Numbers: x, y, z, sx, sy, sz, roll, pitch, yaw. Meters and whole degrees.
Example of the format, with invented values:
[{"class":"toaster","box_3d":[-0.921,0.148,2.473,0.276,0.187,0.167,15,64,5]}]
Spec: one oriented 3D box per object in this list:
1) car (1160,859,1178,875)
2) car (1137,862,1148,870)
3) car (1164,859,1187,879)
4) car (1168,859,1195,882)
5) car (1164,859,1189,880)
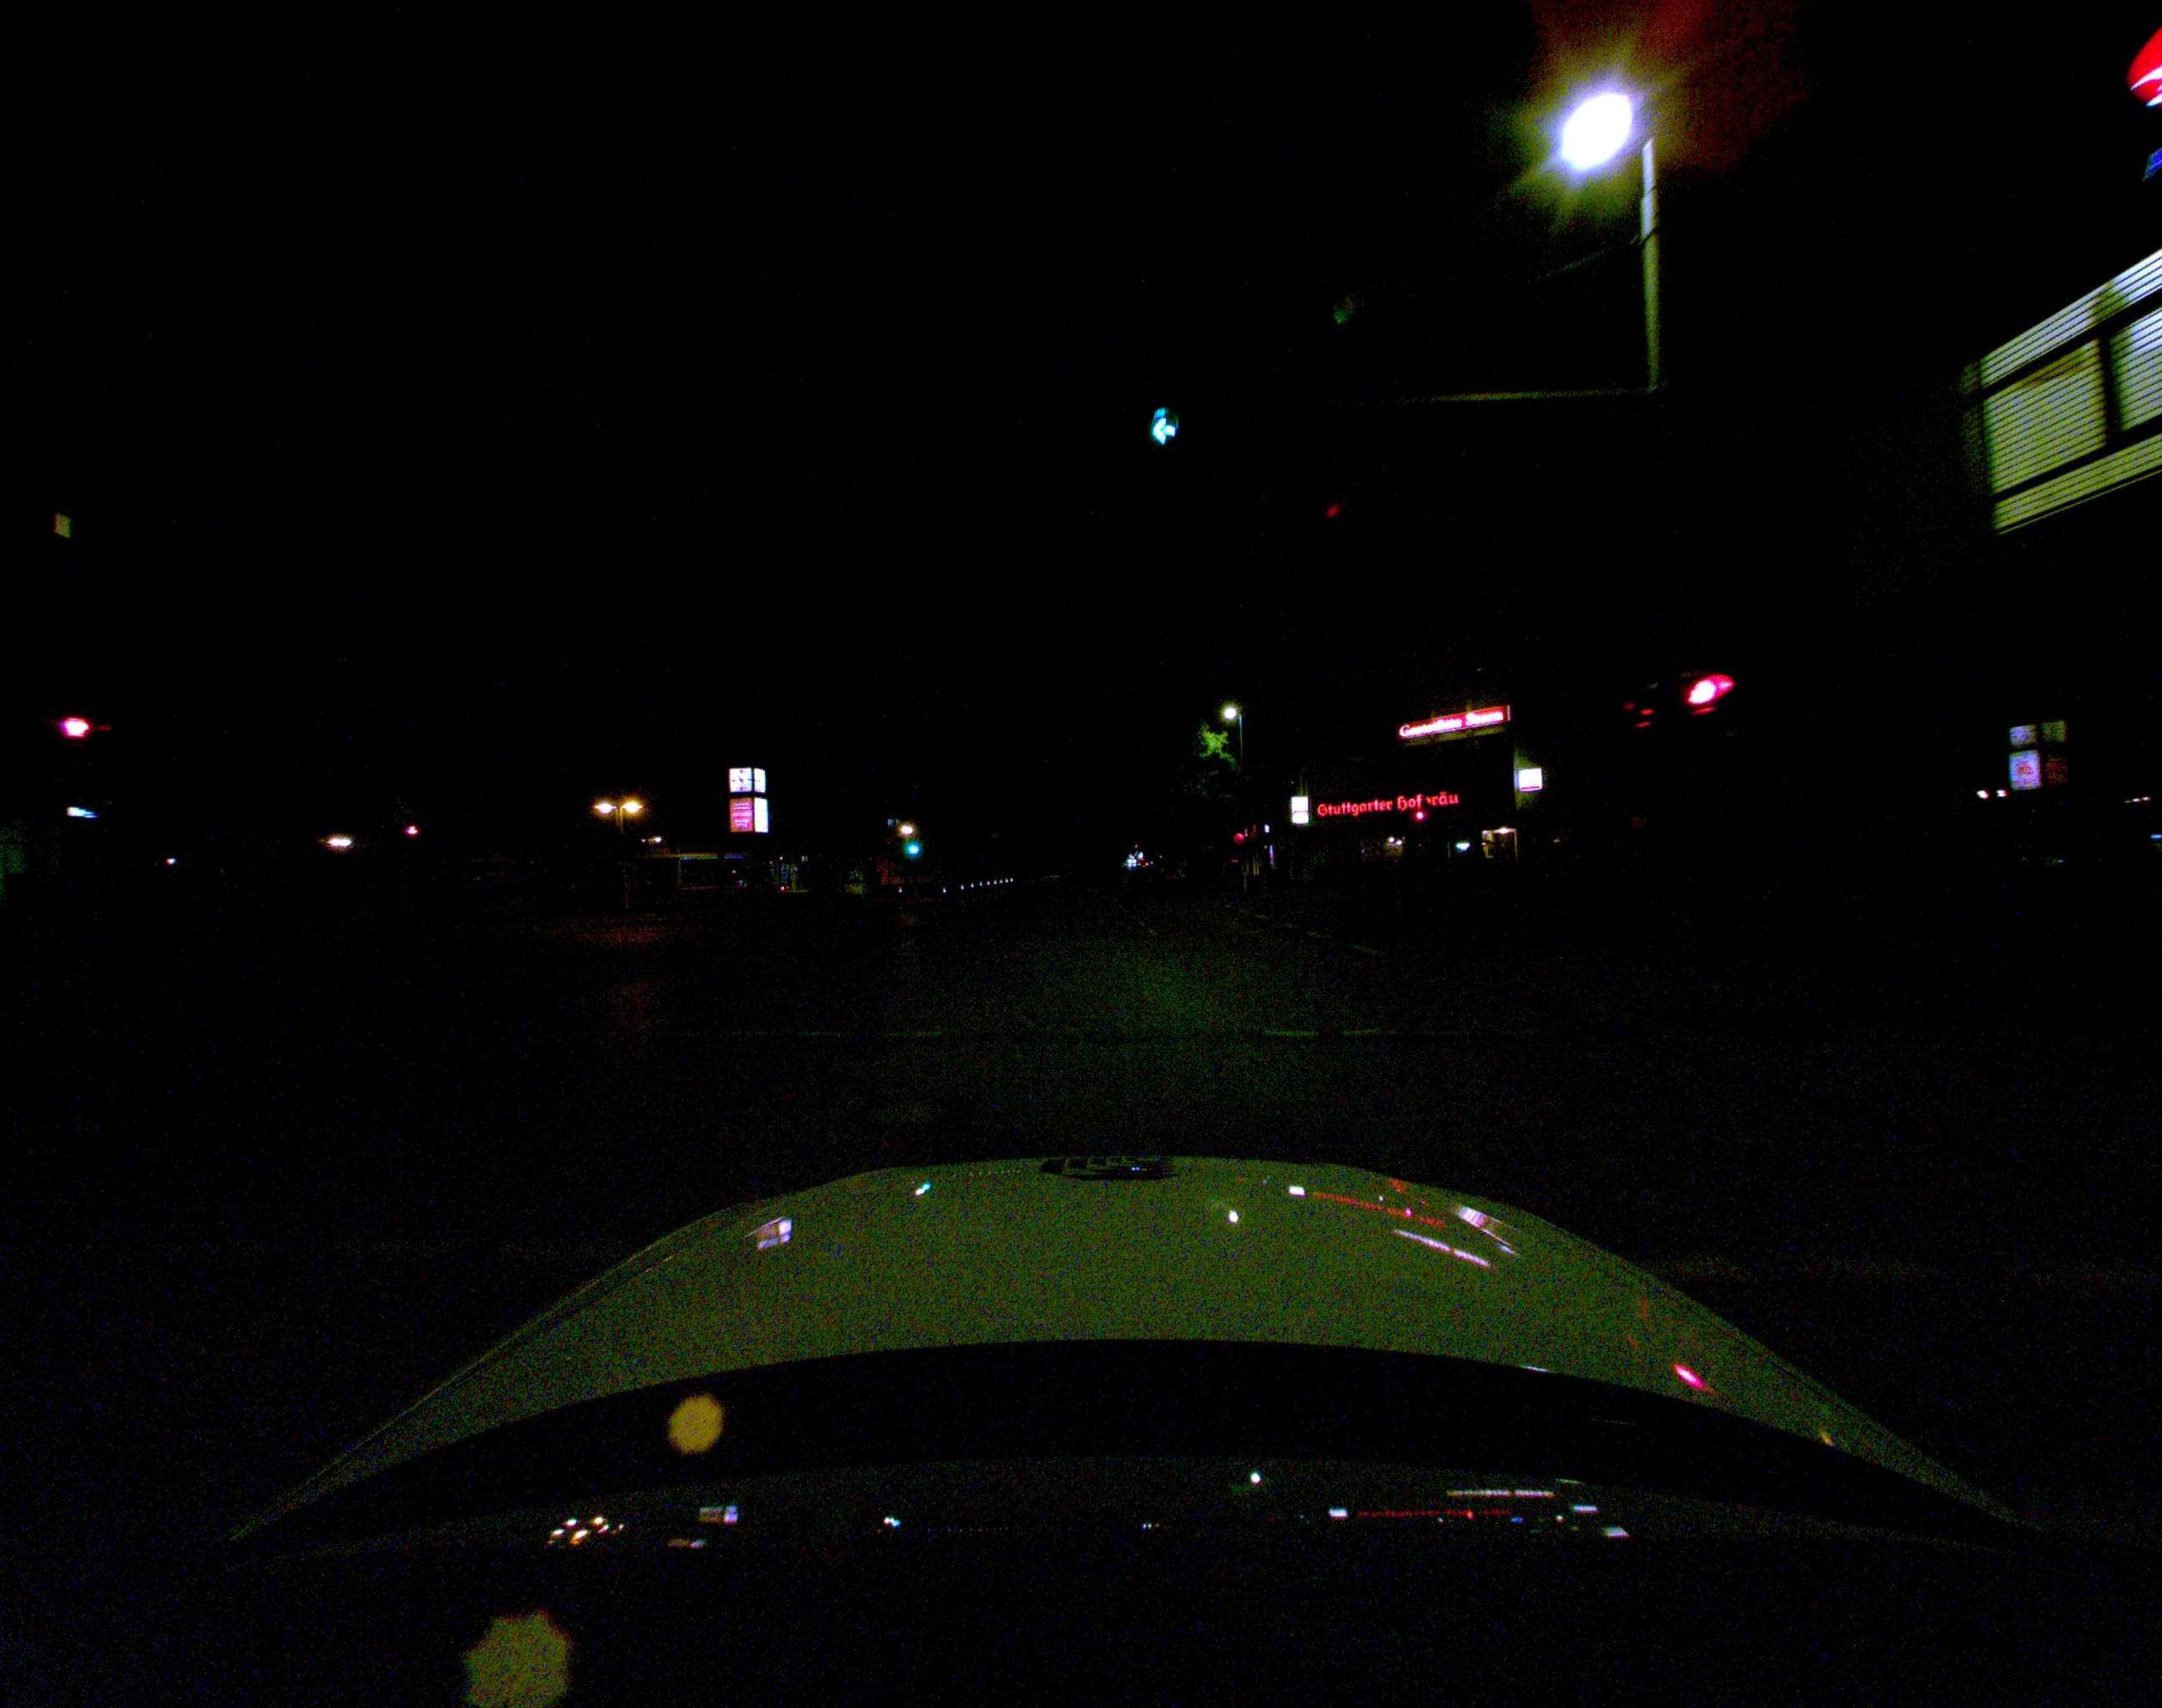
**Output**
[{"class":"car","box_3d":[10.090,1.496,93.295,1.868,1.684,4.005,-2,-1,5]},{"class":"car","box_3d":[11.181,2.196,147.751,1.866,1.454,4.320,0,-1,3]},{"class":"car","box_3d":[8.703,1.383,75.308,1.868,1.729,4.005,-2,-1,5]},{"class":"car","box_3d":[7.656,1.263,62.596,1.868,1.615,4.005,-2,-1,5]},{"class":"car","box_3d":[7.903,1.285,67.653,1.868,1.615,4.005,-2,-1,5]}]
